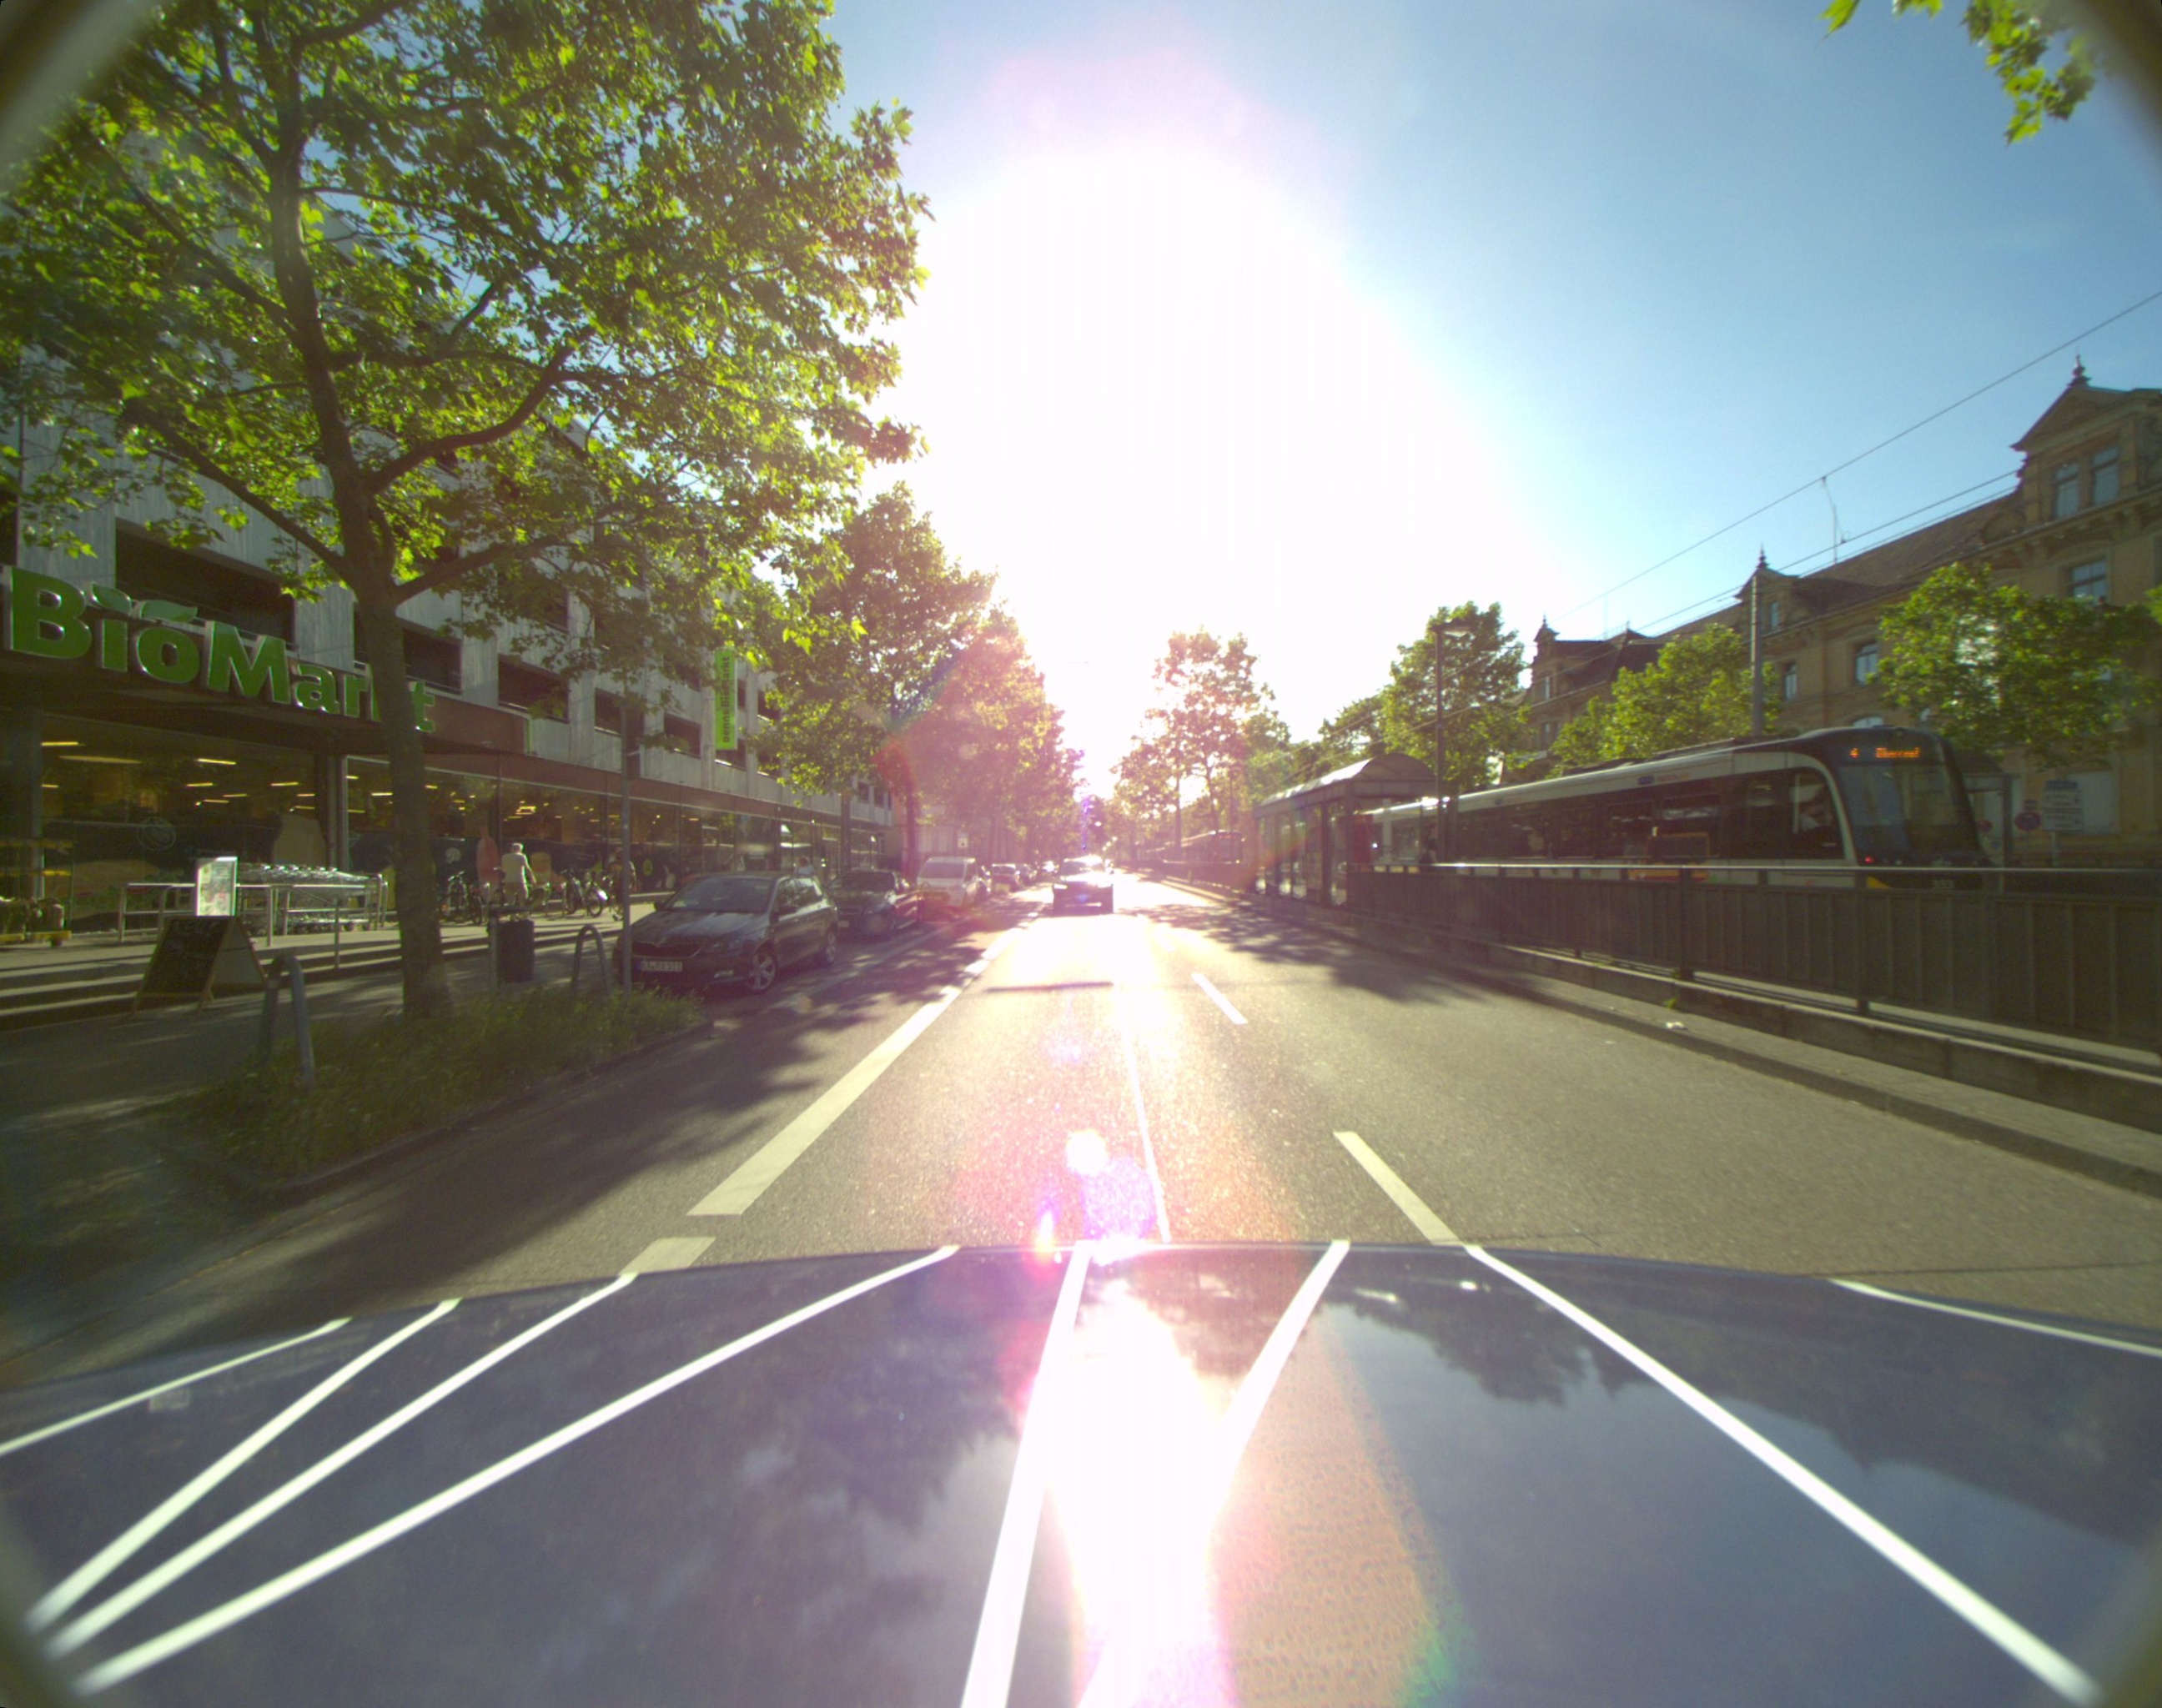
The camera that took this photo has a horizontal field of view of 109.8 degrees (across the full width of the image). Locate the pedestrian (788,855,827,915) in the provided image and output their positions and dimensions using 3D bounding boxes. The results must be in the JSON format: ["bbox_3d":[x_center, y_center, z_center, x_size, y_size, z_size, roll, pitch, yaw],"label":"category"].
[{"bbox_3d":[-7.542,0.827,20.971,0.699,1.603,0.868,1,0,3],"label":"pedestrian"}]

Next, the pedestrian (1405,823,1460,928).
[{"bbox_3d":[5.635,0.341,12.210,0.568,1.630,0.622,-2,0,2],"label":"pedestrian"}]

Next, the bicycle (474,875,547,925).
[{"bbox_3d":[-12.820,1.022,17.055,1.700,1.049,0.587,1,-3,28],"label":"bicycle"}]

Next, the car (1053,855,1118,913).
[{"bbox_3d":[0.165,0.919,25.240,1.914,1.695,4.273,-2,0,1],"label":"car"}]

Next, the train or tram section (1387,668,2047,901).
[{"bbox_3d":[13.302,-1.014,20.616,2.856,3.414,18.216,-2,0,1],"label":"train or tram section"}]

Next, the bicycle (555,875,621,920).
[{"bbox_3d":[-12.368,1.072,19.040,1.700,1.049,0.587,1,-1,28],"label":"bicycle"}]

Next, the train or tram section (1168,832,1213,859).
[{"bbox_3d":[10.911,-0.762,77.346,2.569,2.516,15.073,-1,0,1],"label":"train or tram section"}]

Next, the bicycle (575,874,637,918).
[{"bbox_3d":[-12.551,1.082,20.059,1.700,1.049,0.587,2,0,28],"label":"bicycle"}]

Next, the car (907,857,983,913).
[{"bbox_3d":[-4.622,1.010,26.401,1.768,1.781,4.393,0,0,1],"label":"car"}]

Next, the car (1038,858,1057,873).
[{"bbox_3d":[-3.673,1.275,83.887,1.839,1.555,4.274,-2,0,1],"label":"car"}]

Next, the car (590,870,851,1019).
[{"bbox_3d":[-4.607,1.045,10.427,1.568,1.541,4.000,-1,0,1],"label":"car"}]

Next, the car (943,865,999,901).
[{"bbox_3d":[-4.671,1.193,32.771,1.733,1.395,4.295,1,0,0],"label":"car"}]

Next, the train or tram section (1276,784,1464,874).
[{"bbox_3d":[13.661,-0.928,38.851,2.878,3.414,18.277,-2,0,1],"label":"train or tram section"}]

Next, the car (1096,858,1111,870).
[{"bbox_3d":[2.916,1.275,97.853,1.706,1.407,3.876,-2,0,3],"label":"car"}]

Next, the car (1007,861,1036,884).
[{"bbox_3d":[-4.093,1.253,52.654,1.630,1.433,3.930,1,0,1],"label":"car"}]

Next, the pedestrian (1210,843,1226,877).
[{"bbox_3d":[7.072,0.307,39.123,0.683,1.700,0.624,-1,0,0],"label":"pedestrian"}]

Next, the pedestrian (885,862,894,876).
[{"bbox_3d":[-15.087,1.189,59.835,0.560,1.103,0.684,0,0,1],"label":"pedestrian"}]

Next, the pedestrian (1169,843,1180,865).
[{"bbox_3d":[6.916,0.028,56.327,0.700,1.626,0.761,-1,0,1],"label":"pedestrian"}]

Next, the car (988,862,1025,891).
[{"bbox_3d":[-4.113,1.214,42.327,1.677,1.430,3.690,2,1,0],"label":"car"}]

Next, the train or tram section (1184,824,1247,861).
[{"bbox_3d":[10.656,-0.791,61.973,2.569,2.549,15.675,-1,0,1],"label":"train or tram section"}]

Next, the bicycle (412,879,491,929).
[{"bbox_3d":[-12.740,1.005,15.364,1.647,0.910,0.587,1,-2,28],"label":"bicycle"}]

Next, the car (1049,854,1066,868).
[{"bbox_3d":[-2.849,0.852,93.352,1.839,1.666,4.274,-2,0,1],"label":"car"}]

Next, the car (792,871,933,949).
[{"bbox_3d":[-4.639,1.124,16.927,1.766,1.409,4.700,0,0,0],"label":"car"}]

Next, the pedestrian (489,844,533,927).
[{"bbox_3d":[-12.078,0.675,16.116,0.615,1.705,0.611,4,-2,-33],"label":"pedestrian"}]

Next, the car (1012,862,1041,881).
[{"bbox_3d":[-4.124,1.317,57.873,1.781,1.373,4.276,-1,0,1],"label":"car"}]

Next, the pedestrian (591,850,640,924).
[{"bbox_3d":[-10.828,0.743,17.703,0.559,1.668,0.882,2,0,0],"label":"pedestrian"}]
